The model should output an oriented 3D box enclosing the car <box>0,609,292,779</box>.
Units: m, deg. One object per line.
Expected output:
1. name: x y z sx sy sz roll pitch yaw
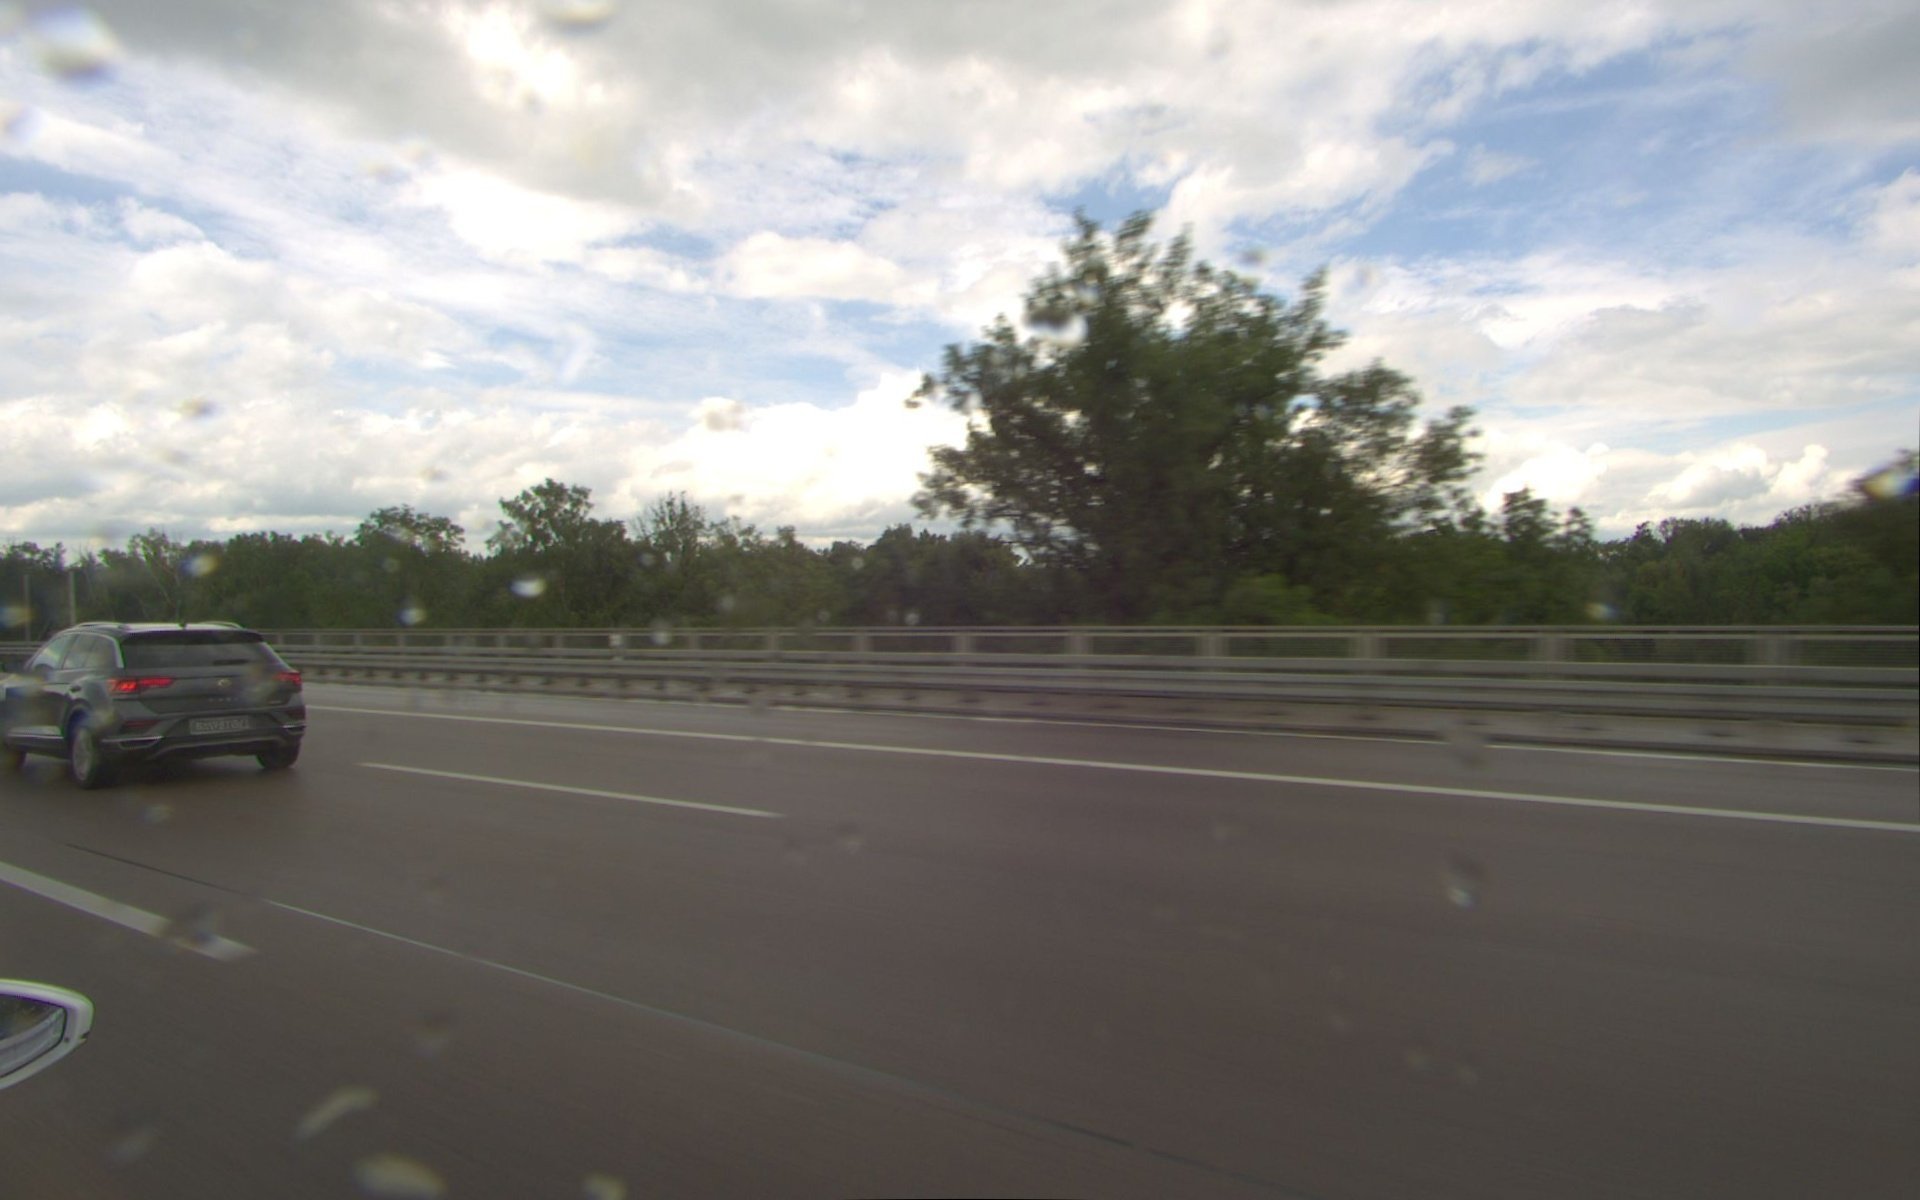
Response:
1. car: -9.283 0.919 11.082 3.668 1.582 1.789 -1 -1 32
